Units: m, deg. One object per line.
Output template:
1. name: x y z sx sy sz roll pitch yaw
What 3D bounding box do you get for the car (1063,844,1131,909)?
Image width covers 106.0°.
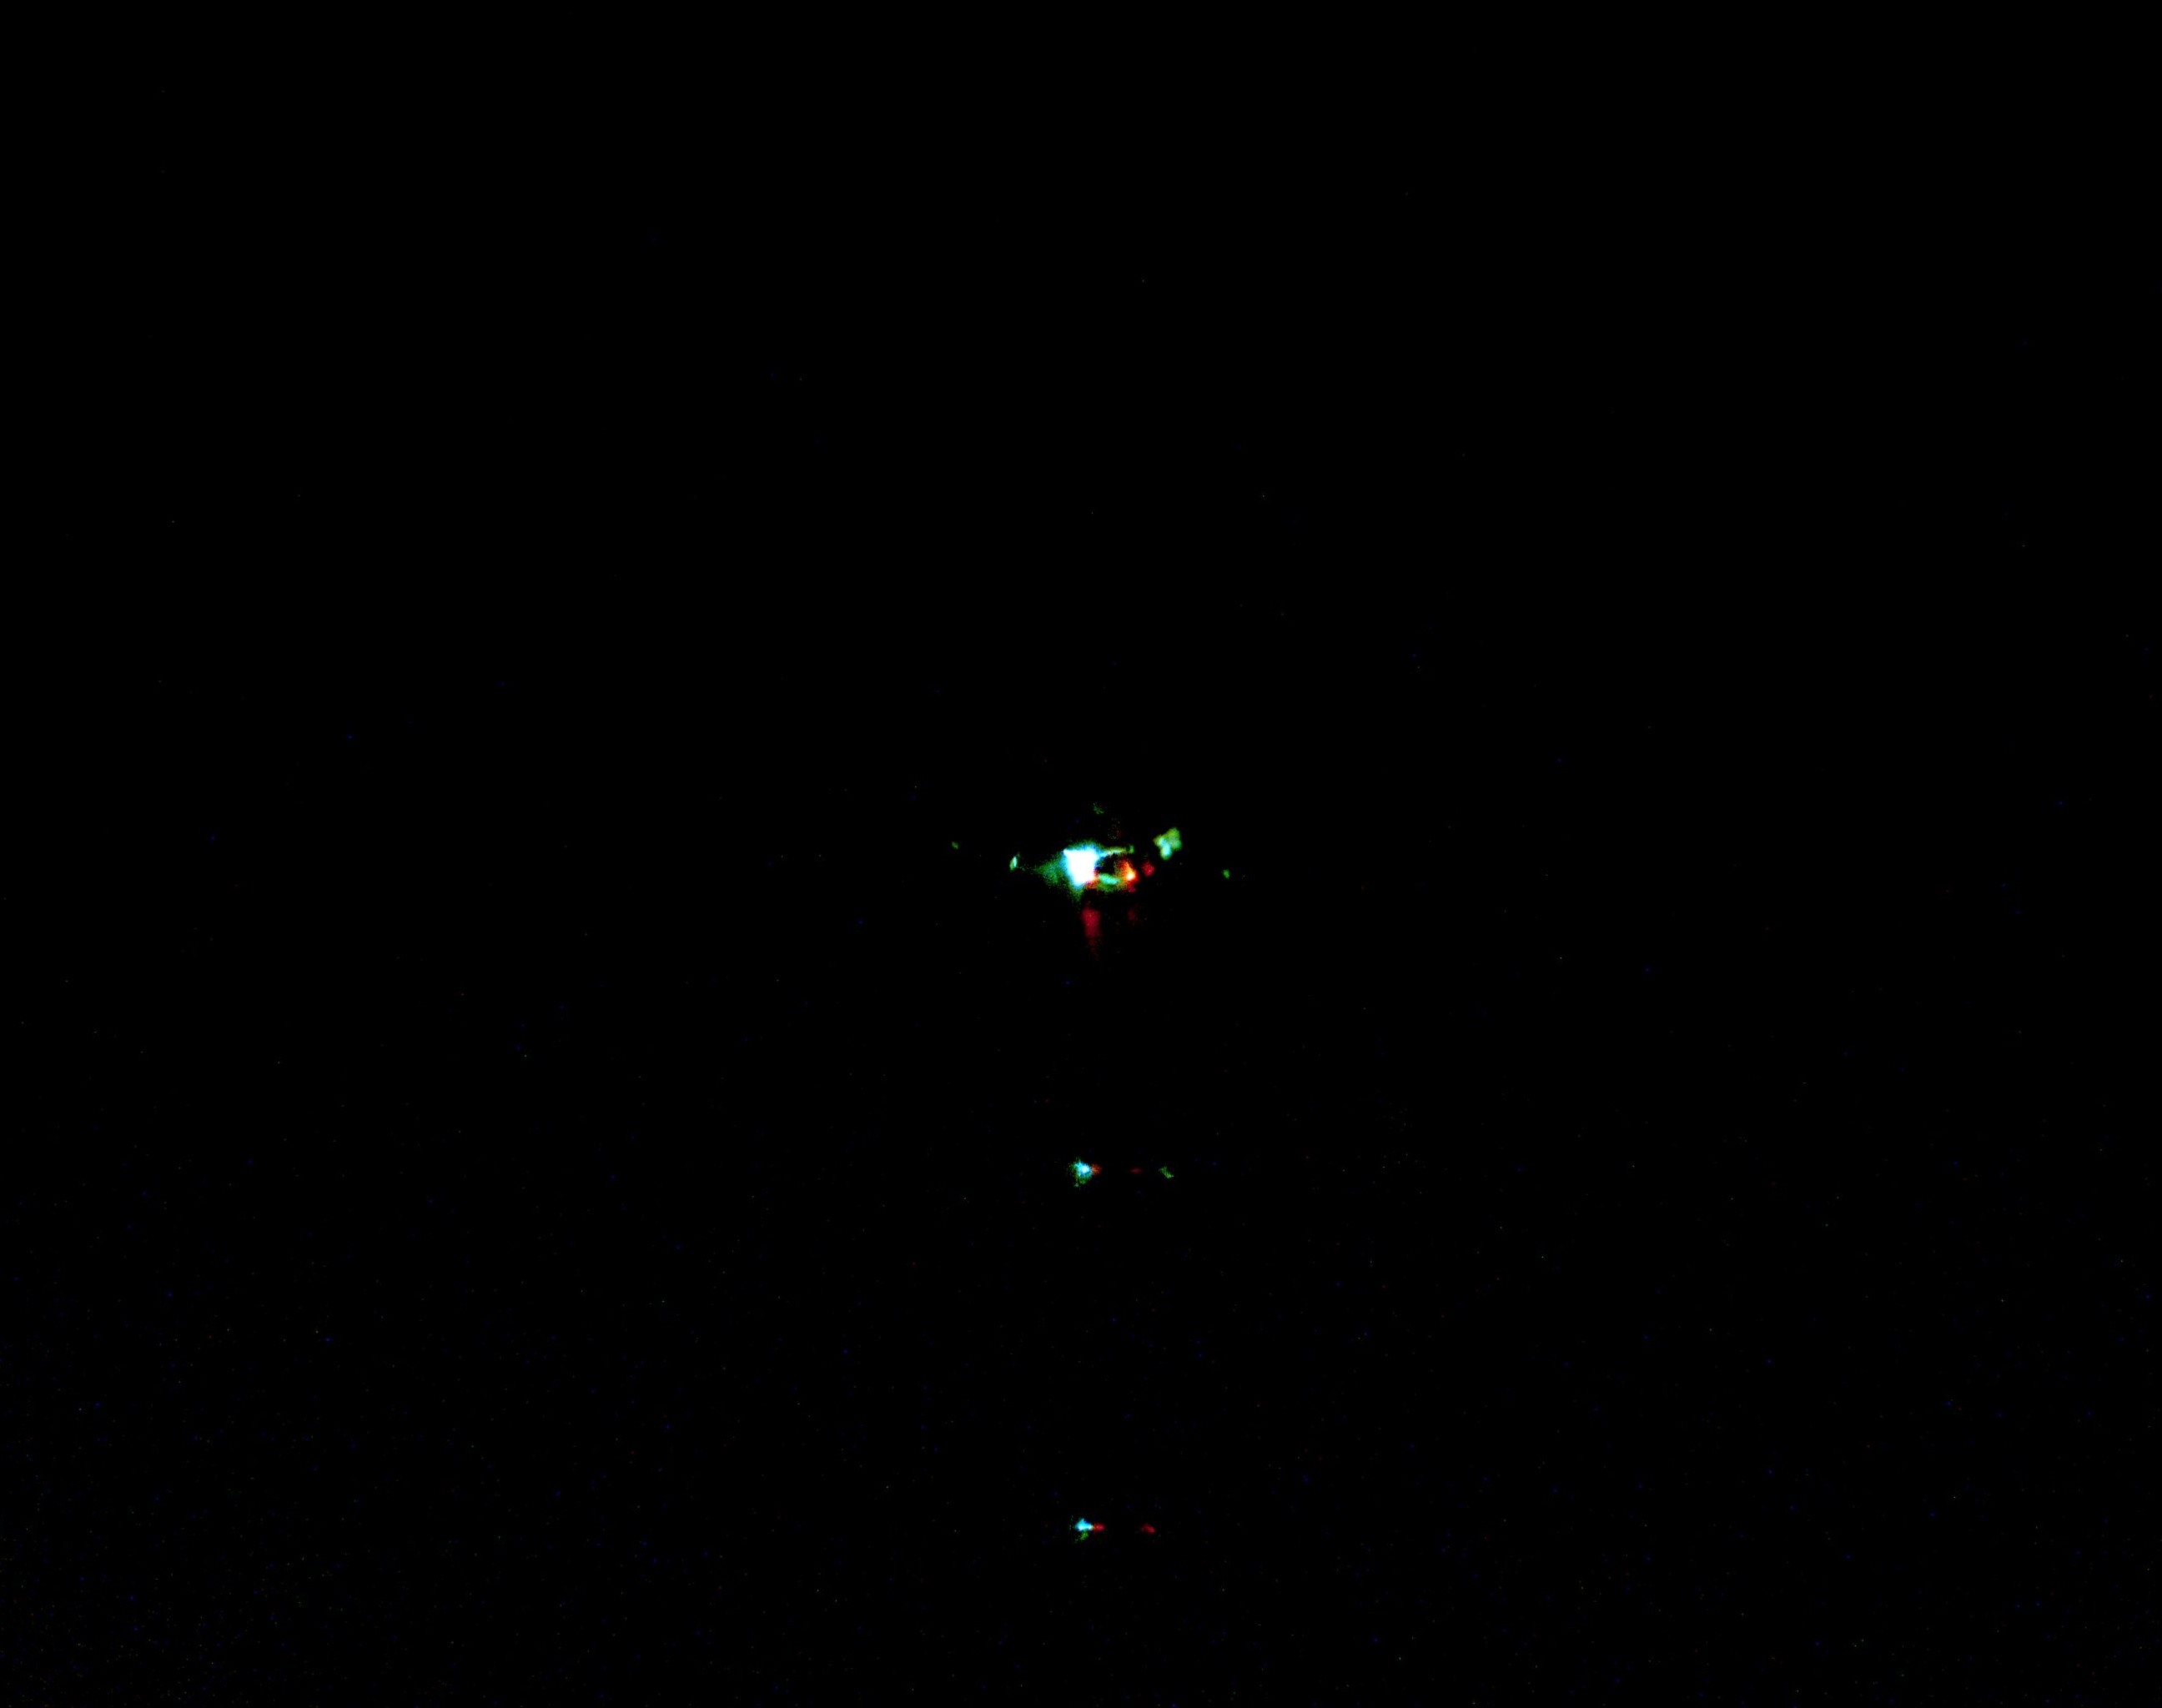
1. car: 0.505 0.703 27.292 2.086 2.013 3.999 0 0 0
